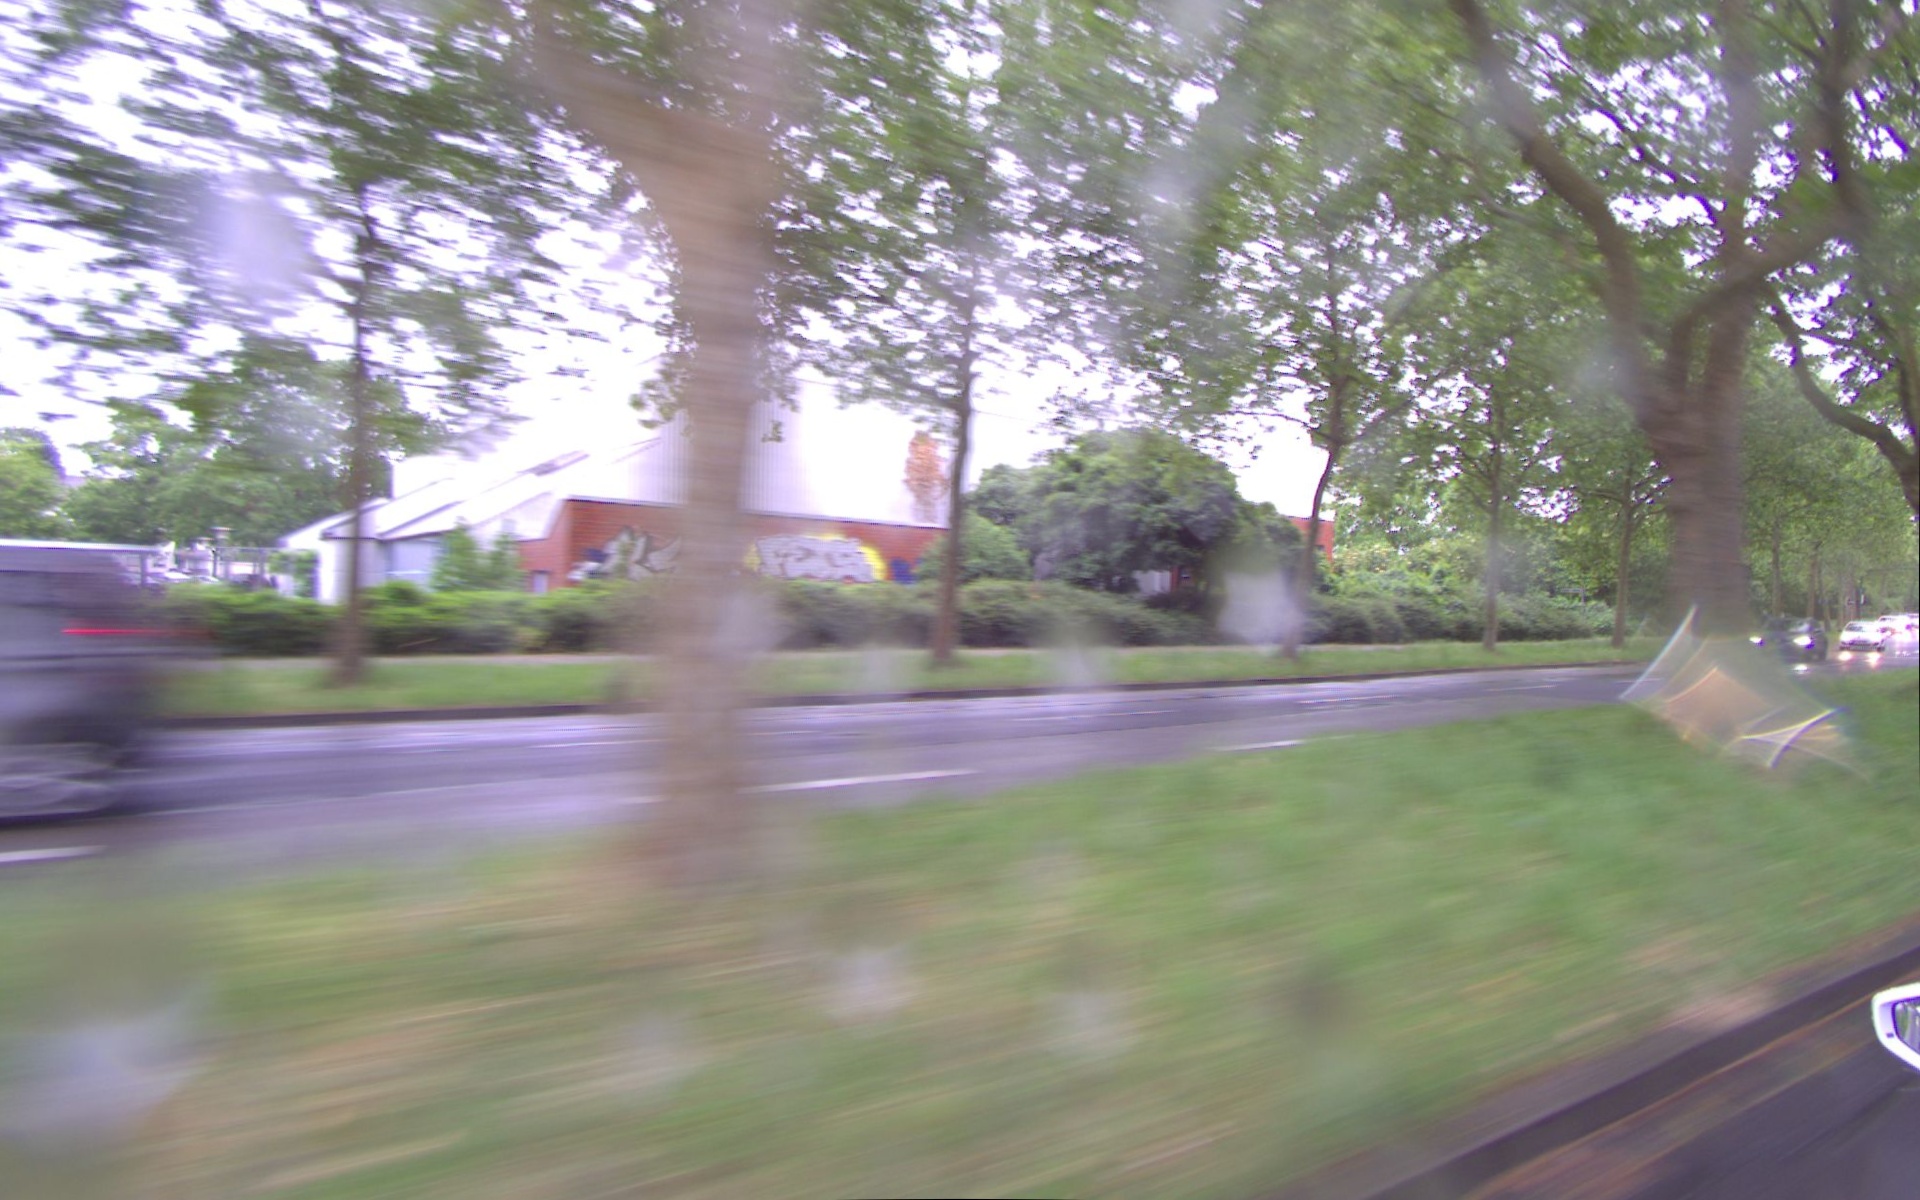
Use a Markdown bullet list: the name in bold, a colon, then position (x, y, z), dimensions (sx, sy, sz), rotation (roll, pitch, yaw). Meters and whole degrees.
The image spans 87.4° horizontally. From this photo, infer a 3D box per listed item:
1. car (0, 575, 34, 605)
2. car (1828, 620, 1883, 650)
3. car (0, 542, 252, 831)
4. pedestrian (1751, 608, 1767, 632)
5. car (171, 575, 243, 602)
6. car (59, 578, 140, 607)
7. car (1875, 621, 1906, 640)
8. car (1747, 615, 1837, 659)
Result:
- **car**: position (-63.329, -0.707, 65.524), dimensions (4.407, 1.927, 2.001), rotation (2, 0, 9)
- **car**: position (46.378, 1.784, 51.974), dimensions (3.813, 1.479, 1.727), rotation (1, 0, -42)
- **car**: position (-7.509, 0.498, 6.255), dimensions (4.899, 1.759, 2.019), rotation (1, 0, -32)
- **pedestrian**: position (59.279, 1.487, 74.515), dimensions (0.822, 1.696, 0.894), rotation (1, 0, 45)
- **car**: position (-58.984, -0.900, 78.679), dimensions (4.407, 1.927, 2.001), rotation (2, 0, 9)
- **car**: position (-61.466, -0.531, 71.767), dimensions (4.407, 1.927, 2.001), rotation (2, 0, 9)
- **car**: position (79.858, 2.602, 86.216), dimensions (4.055, 1.496, 1.726), rotation (1, 0, -44)
- **car**: position (32.537, 1.414, 39.249), dimensions (4.327, 1.582, 1.731), rotation (1, 0, -37)
